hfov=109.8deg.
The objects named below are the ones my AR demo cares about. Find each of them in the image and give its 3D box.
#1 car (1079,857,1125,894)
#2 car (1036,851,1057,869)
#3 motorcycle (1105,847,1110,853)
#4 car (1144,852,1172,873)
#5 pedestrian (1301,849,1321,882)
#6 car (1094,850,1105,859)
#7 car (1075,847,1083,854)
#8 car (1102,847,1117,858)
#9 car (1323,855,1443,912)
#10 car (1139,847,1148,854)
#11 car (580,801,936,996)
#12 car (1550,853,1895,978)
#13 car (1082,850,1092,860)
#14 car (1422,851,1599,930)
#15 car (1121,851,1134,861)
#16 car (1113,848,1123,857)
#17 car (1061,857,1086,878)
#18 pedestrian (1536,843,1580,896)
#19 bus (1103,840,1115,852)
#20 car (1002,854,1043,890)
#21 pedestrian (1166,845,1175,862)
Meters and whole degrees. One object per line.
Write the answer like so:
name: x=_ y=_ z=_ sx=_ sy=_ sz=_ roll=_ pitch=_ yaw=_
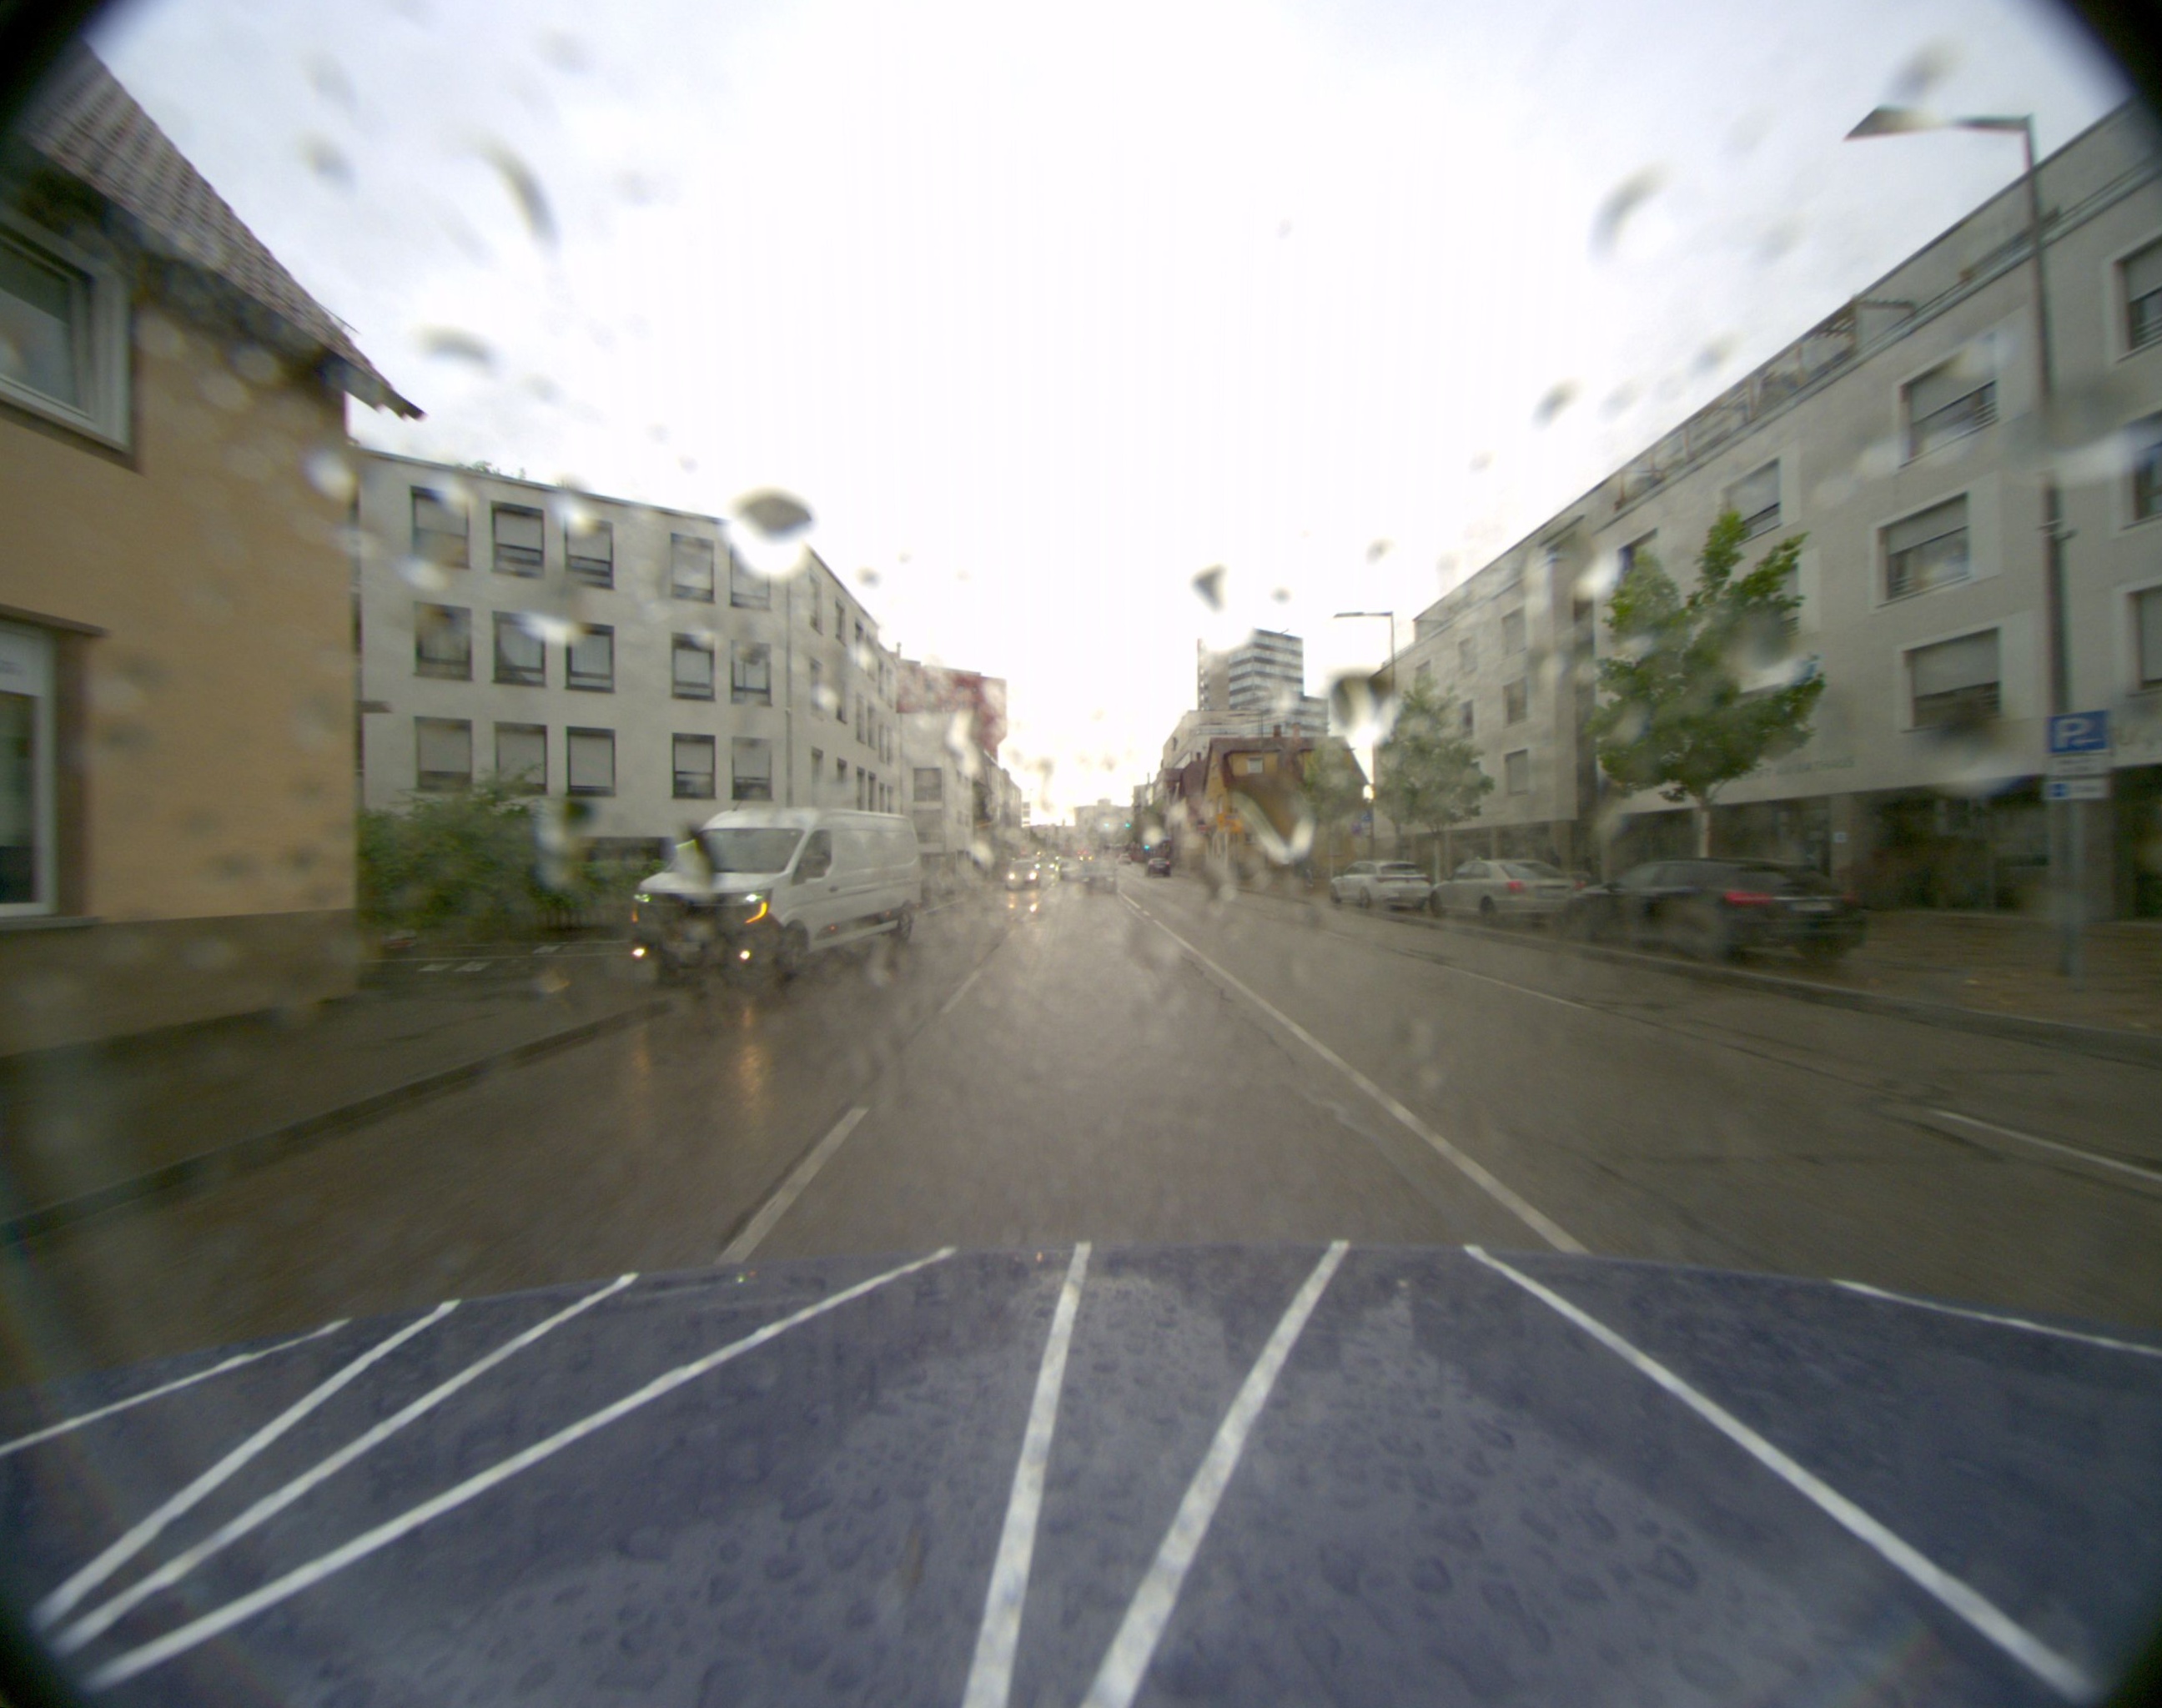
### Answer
car: x=0.860 y=0.889 z=33.183 sx=1.688 sy=1.373 sz=3.792 roll=-2 pitch=2 yaw=-2
car: x=-3.482 y=0.582 z=75.888 sx=2.059 sy=1.638 sz=4.477 roll=-1 pitch=2 yaw=-4
motorcycle: x=6.136 y=-0.877 z=176.486 sx=0.910 sy=1.276 sz=2.184 roll=0 pitch=2 yaw=0
car: x=6.192 y=0.665 z=61.559 sx=1.885 sy=1.515 sz=4.182 roll=0 pitch=2 yaw=0
pedestrian: x=12.397 y=0.607 z=40.991 sx=0.803 sy=1.778 sz=0.881 roll=0 pitch=2 yaw=-3
car: x=3.459 y=0.023 z=142.173 sx=1.883 sy=1.600 sz=4.717 roll=0 pitch=2 yaw=1
car: x=-0.418 y=-0.734 z=173.401 sx=1.710 sy=1.508 sz=4.391 roll=0 pitch=2 yaw=3
car: x=3.768 y=-0.187 z=101.227 sx=1.772 sy=1.405 sz=4.524 roll=0 pitch=2 yaw=-1
car: x=9.212 y=0.833 z=23.605 sx=1.800 sy=1.454 sz=4.476 roll=-1 pitch=2 yaw=-2
car: x=13.957 y=-0.752 z=170.862 sx=1.757 sy=1.402 sz=3.729 roll=0 pitch=2 yaw=0
car: x=-4.648 y=0.461 z=12.670 sx=2.295 sy=2.368 sz=6.627 roll=0 pitch=2 yaw=8
car: x=9.475 y=0.775 z=11.827 sx=1.591 sy=1.573 sz=4.470 roll=0 pitch=0 yaw=0
car: x=0.981 y=0.168 z=127.816 sx=1.720 sy=1.442 sz=4.197 roll=0 pitch=2 yaw=0
car: x=9.727 y=0.741 z=17.703 sx=1.695 sy=1.501 sz=4.577 roll=0 pitch=2 yaw=3
car: x=7.104 y=0.259 z=116.453 sx=1.653 sy=1.410 sz=4.137 roll=2 pitch=2 yaw=0
car: x=7.599 y=-0.328 z=157.632 sx=2.005 sy=1.608 sz=4.948 roll=0 pitch=2 yaw=3
car: x=-0.536 y=0.964 z=54.643 sx=1.662 sy=1.300 sz=3.993 roll=0 pitch=2 yaw=-2
pedestrian: x=15.891 y=0.505 z=25.339 sx=0.811 sy=1.728 sz=1.003 roll=0 pitch=2 yaw=-1
bus: x=7.476 y=-2.297 z=203.641 sx=2.899 sy=3.082 sz=11.996 roll=0 pitch=2 yaw=1
car: x=-3.076 y=0.937 z=40.958 sx=2.017 sy=1.613 sz=4.357 roll=-2 pitch=3 yaw=-2
pedestrian: x=9.803 y=-0.062 z=83.606 sx=0.663 sy=1.910 sz=0.946 roll=-3 pitch=2 yaw=-8
